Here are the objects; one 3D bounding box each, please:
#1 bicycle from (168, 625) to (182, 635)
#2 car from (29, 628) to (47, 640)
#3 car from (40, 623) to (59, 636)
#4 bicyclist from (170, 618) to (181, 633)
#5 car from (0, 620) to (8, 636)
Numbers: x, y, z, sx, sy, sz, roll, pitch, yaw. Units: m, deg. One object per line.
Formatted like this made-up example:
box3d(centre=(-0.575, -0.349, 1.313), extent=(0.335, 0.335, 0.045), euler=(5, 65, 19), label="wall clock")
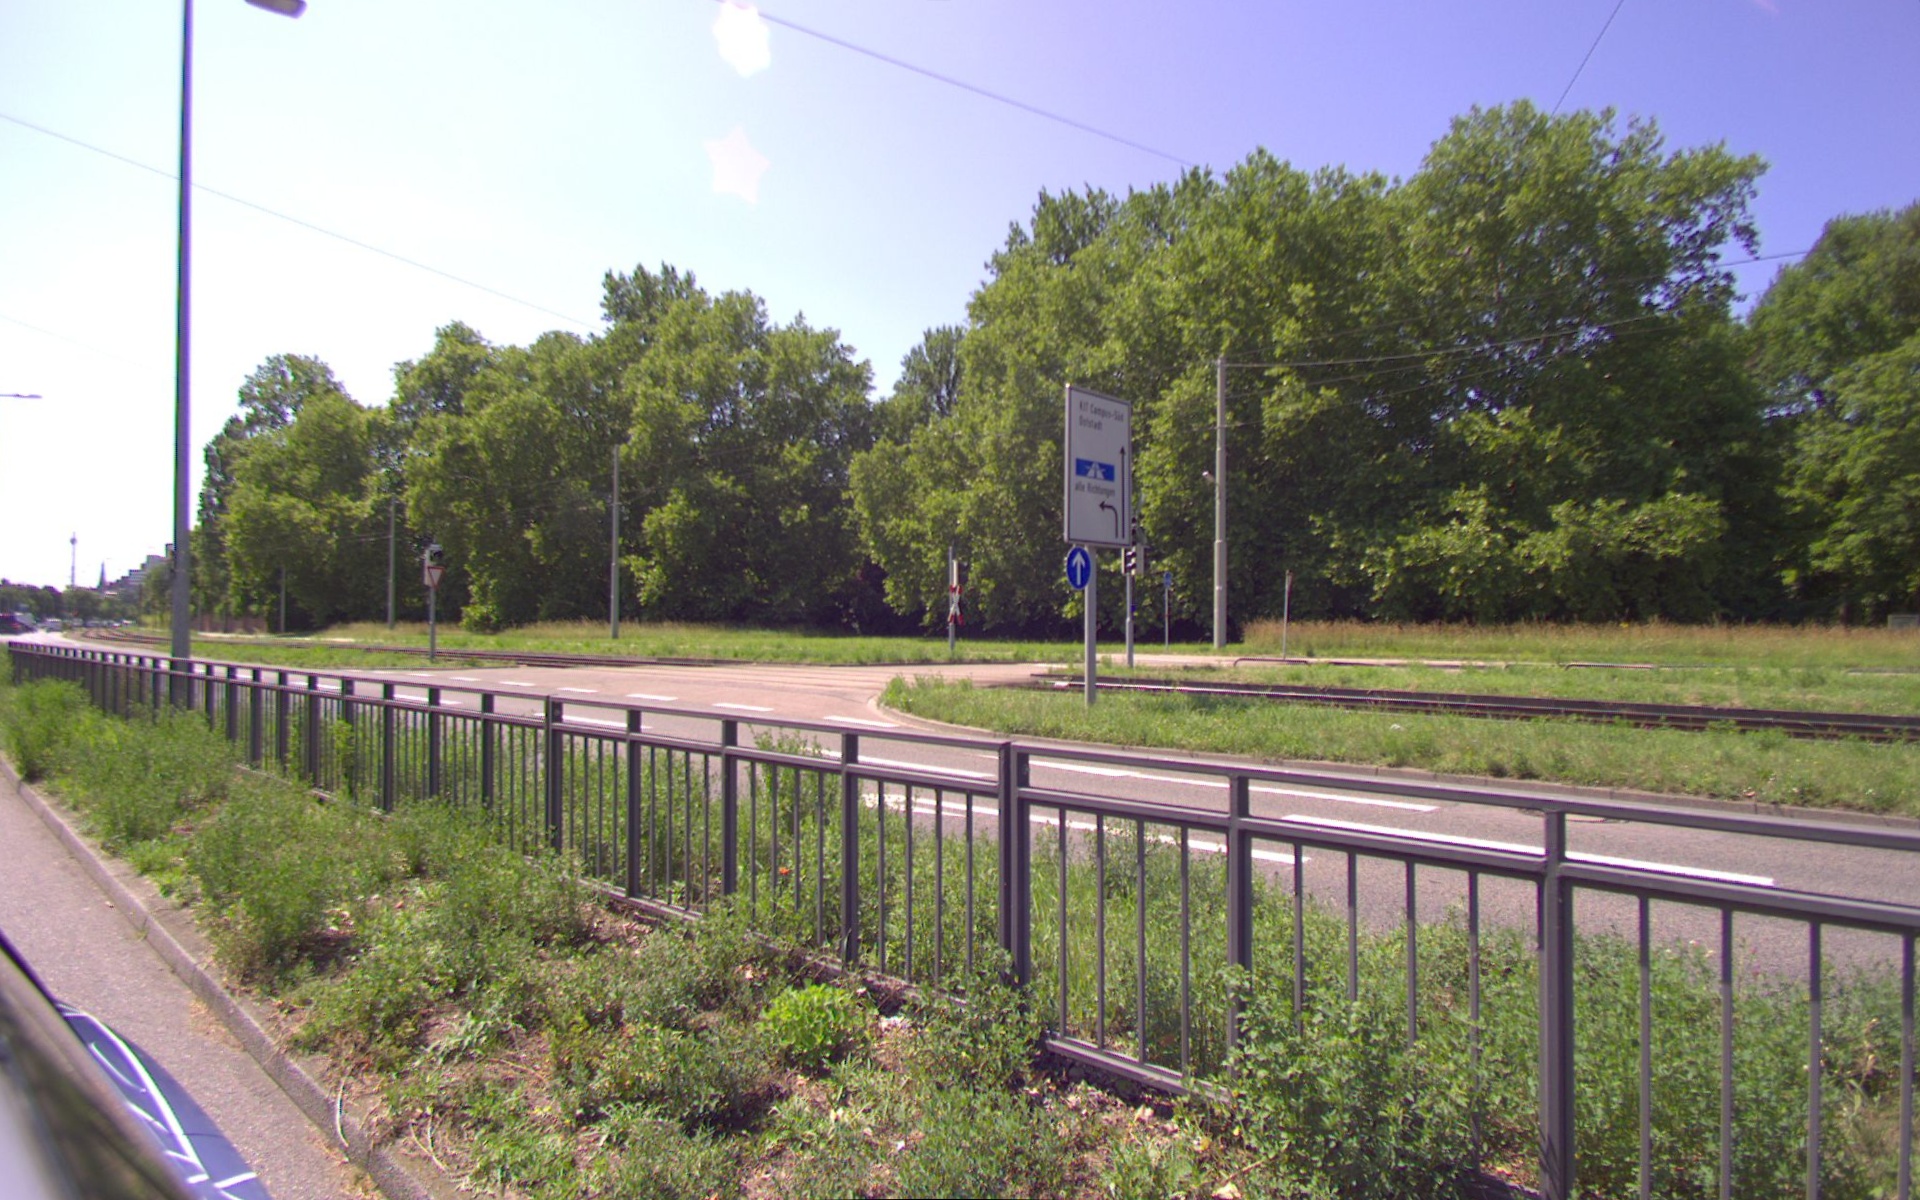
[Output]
box3d(centre=(-97.573, 3.748, 125.808), extent=(2.785, 1.171, 0.851), euler=(-1, -2, 41), label="bicycle")
box3d(centre=(-145.025, 5.329, 159.201), extent=(1.970, 1.871, 4.003), euler=(1, -2, -44), label="car")
box3d(centre=(-136.655, 4.366, 151.868), extent=(1.970, 1.871, 4.003), euler=(1, -2, -44), label="car")
box3d(centre=(-97.518, 3.193, 125.805), extent=(1.117, 1.820, 0.851), euler=(-1, -2, 41), label="bicyclist")
box3d(centre=(-107.896, 3.130, 113.198), extent=(1.970, 1.871, 4.004), euler=(1, -2, -43), label="car")
